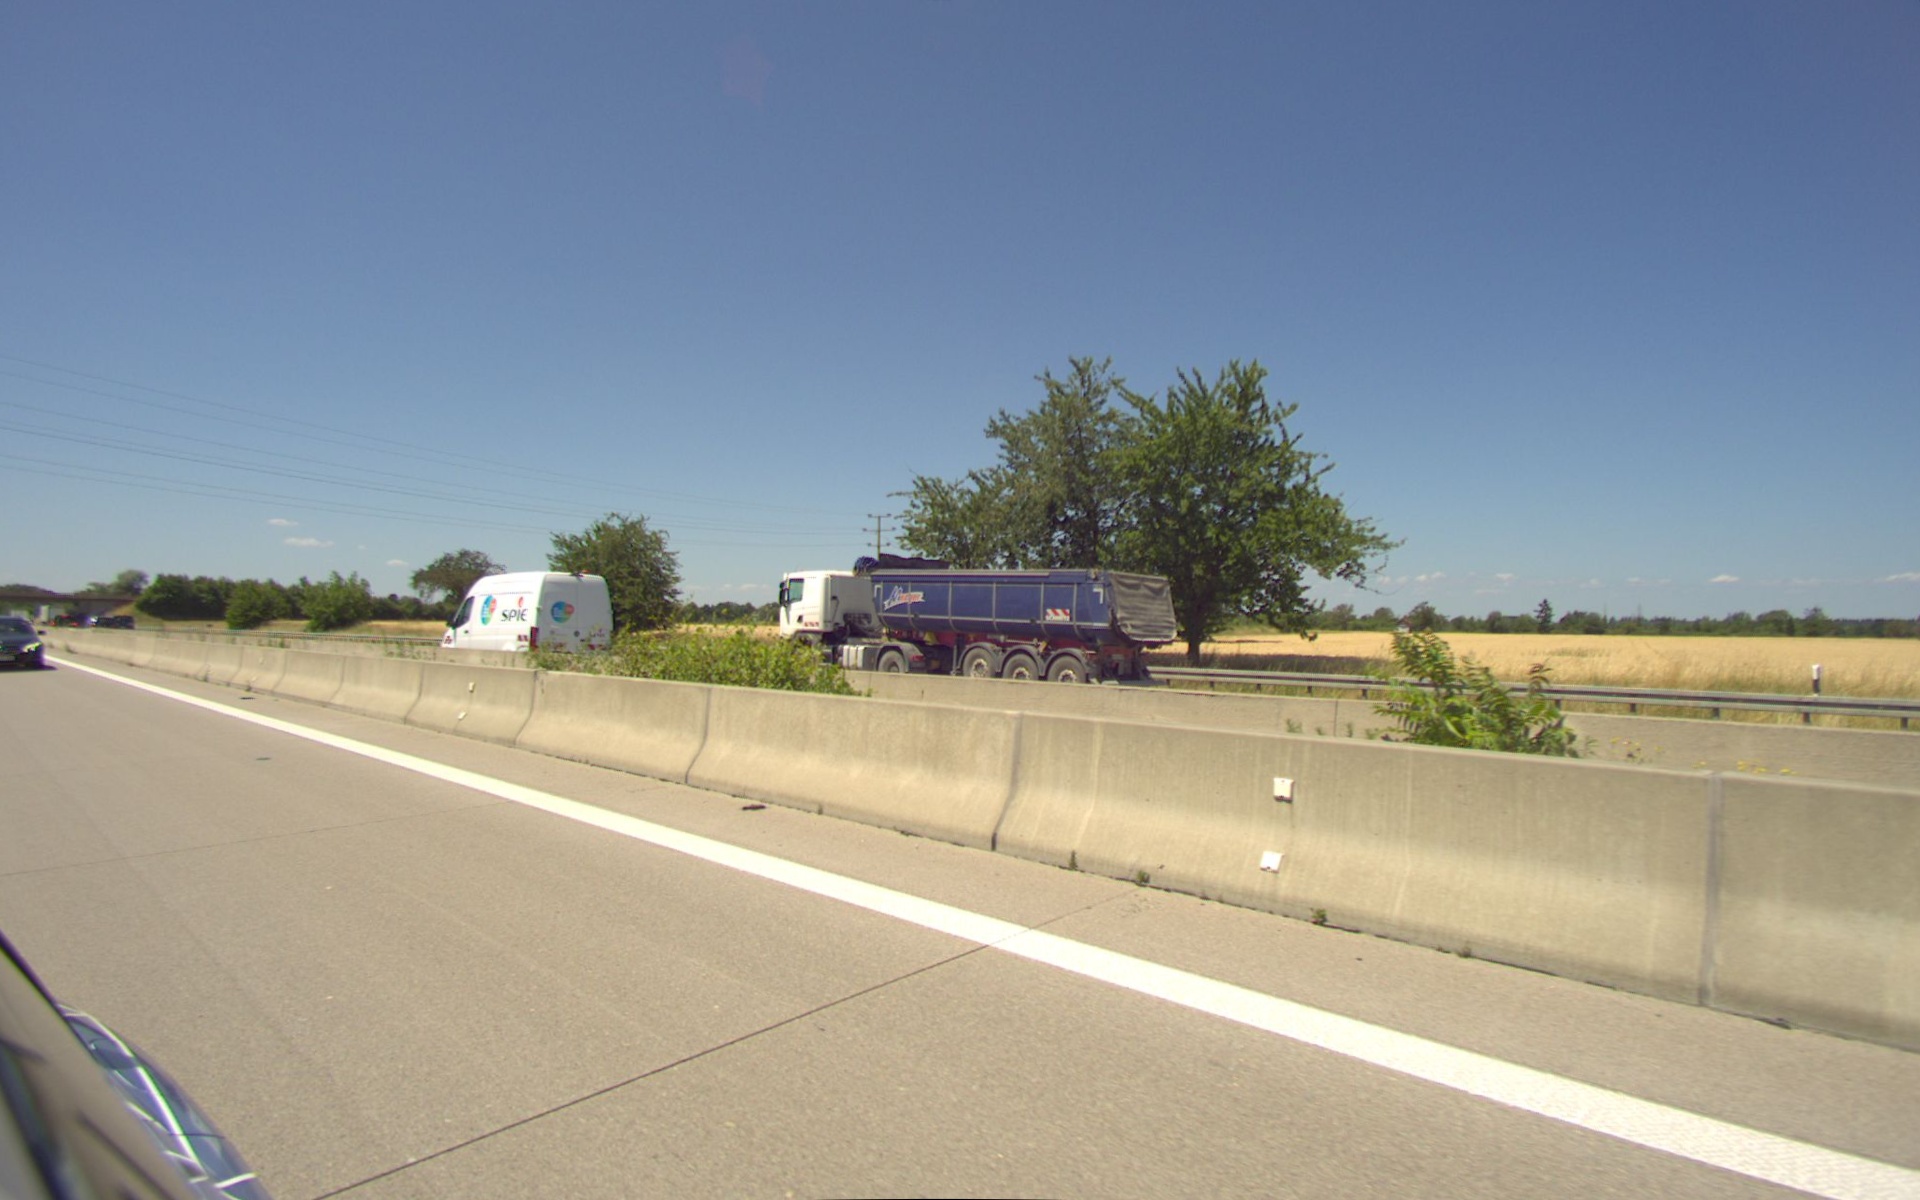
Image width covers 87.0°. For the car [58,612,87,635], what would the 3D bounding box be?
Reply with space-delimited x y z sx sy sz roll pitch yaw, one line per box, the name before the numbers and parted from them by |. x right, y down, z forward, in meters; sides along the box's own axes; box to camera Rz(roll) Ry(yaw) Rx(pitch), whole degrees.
car | -112.735 2.968 128.536 6.795 2.807 2.222 -1 0 45

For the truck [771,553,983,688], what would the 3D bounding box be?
truck | -2.392 0.532 28.013 5.614 3.329 2.775 -1 0 43

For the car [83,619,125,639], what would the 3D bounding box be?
car | -67.045 2.236 79.245 4.682 1.459 1.972 -1 0 43

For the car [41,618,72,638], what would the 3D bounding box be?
car | -90.225 2.765 101.054 5.827 1.840 1.971 -1 0 45

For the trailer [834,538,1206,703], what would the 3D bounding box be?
trailer | 1.055 0.462 24.721 9.464 3.329 2.797 -1 0 43

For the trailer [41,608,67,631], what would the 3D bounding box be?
trailer | -167.437 3.599 186.969 2.788 4.075 12.684 -1 0 -45

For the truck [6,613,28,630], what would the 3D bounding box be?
truck | -177.629 4.074 190.619 7.924 3.166 2.519 -1 -1 44

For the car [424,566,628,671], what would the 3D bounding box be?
car | -10.563 0.421 24.288 6.326 2.205 2.186 -1 0 44

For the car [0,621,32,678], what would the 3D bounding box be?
car | -27.554 1.335 28.347 6.350 1.482 1.971 -1 -3 45

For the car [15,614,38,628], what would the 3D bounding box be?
car | -118.560 2.637 128.523 5.108 1.665 1.852 -1 0 43

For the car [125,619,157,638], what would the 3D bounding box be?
car | -83.767 2.884 103.472 4.002 1.803 2.145 -1 0 44

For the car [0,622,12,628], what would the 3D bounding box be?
car | -153.036 4.004 162.124 1.504 1.061 3.525 -1 -1 -45
